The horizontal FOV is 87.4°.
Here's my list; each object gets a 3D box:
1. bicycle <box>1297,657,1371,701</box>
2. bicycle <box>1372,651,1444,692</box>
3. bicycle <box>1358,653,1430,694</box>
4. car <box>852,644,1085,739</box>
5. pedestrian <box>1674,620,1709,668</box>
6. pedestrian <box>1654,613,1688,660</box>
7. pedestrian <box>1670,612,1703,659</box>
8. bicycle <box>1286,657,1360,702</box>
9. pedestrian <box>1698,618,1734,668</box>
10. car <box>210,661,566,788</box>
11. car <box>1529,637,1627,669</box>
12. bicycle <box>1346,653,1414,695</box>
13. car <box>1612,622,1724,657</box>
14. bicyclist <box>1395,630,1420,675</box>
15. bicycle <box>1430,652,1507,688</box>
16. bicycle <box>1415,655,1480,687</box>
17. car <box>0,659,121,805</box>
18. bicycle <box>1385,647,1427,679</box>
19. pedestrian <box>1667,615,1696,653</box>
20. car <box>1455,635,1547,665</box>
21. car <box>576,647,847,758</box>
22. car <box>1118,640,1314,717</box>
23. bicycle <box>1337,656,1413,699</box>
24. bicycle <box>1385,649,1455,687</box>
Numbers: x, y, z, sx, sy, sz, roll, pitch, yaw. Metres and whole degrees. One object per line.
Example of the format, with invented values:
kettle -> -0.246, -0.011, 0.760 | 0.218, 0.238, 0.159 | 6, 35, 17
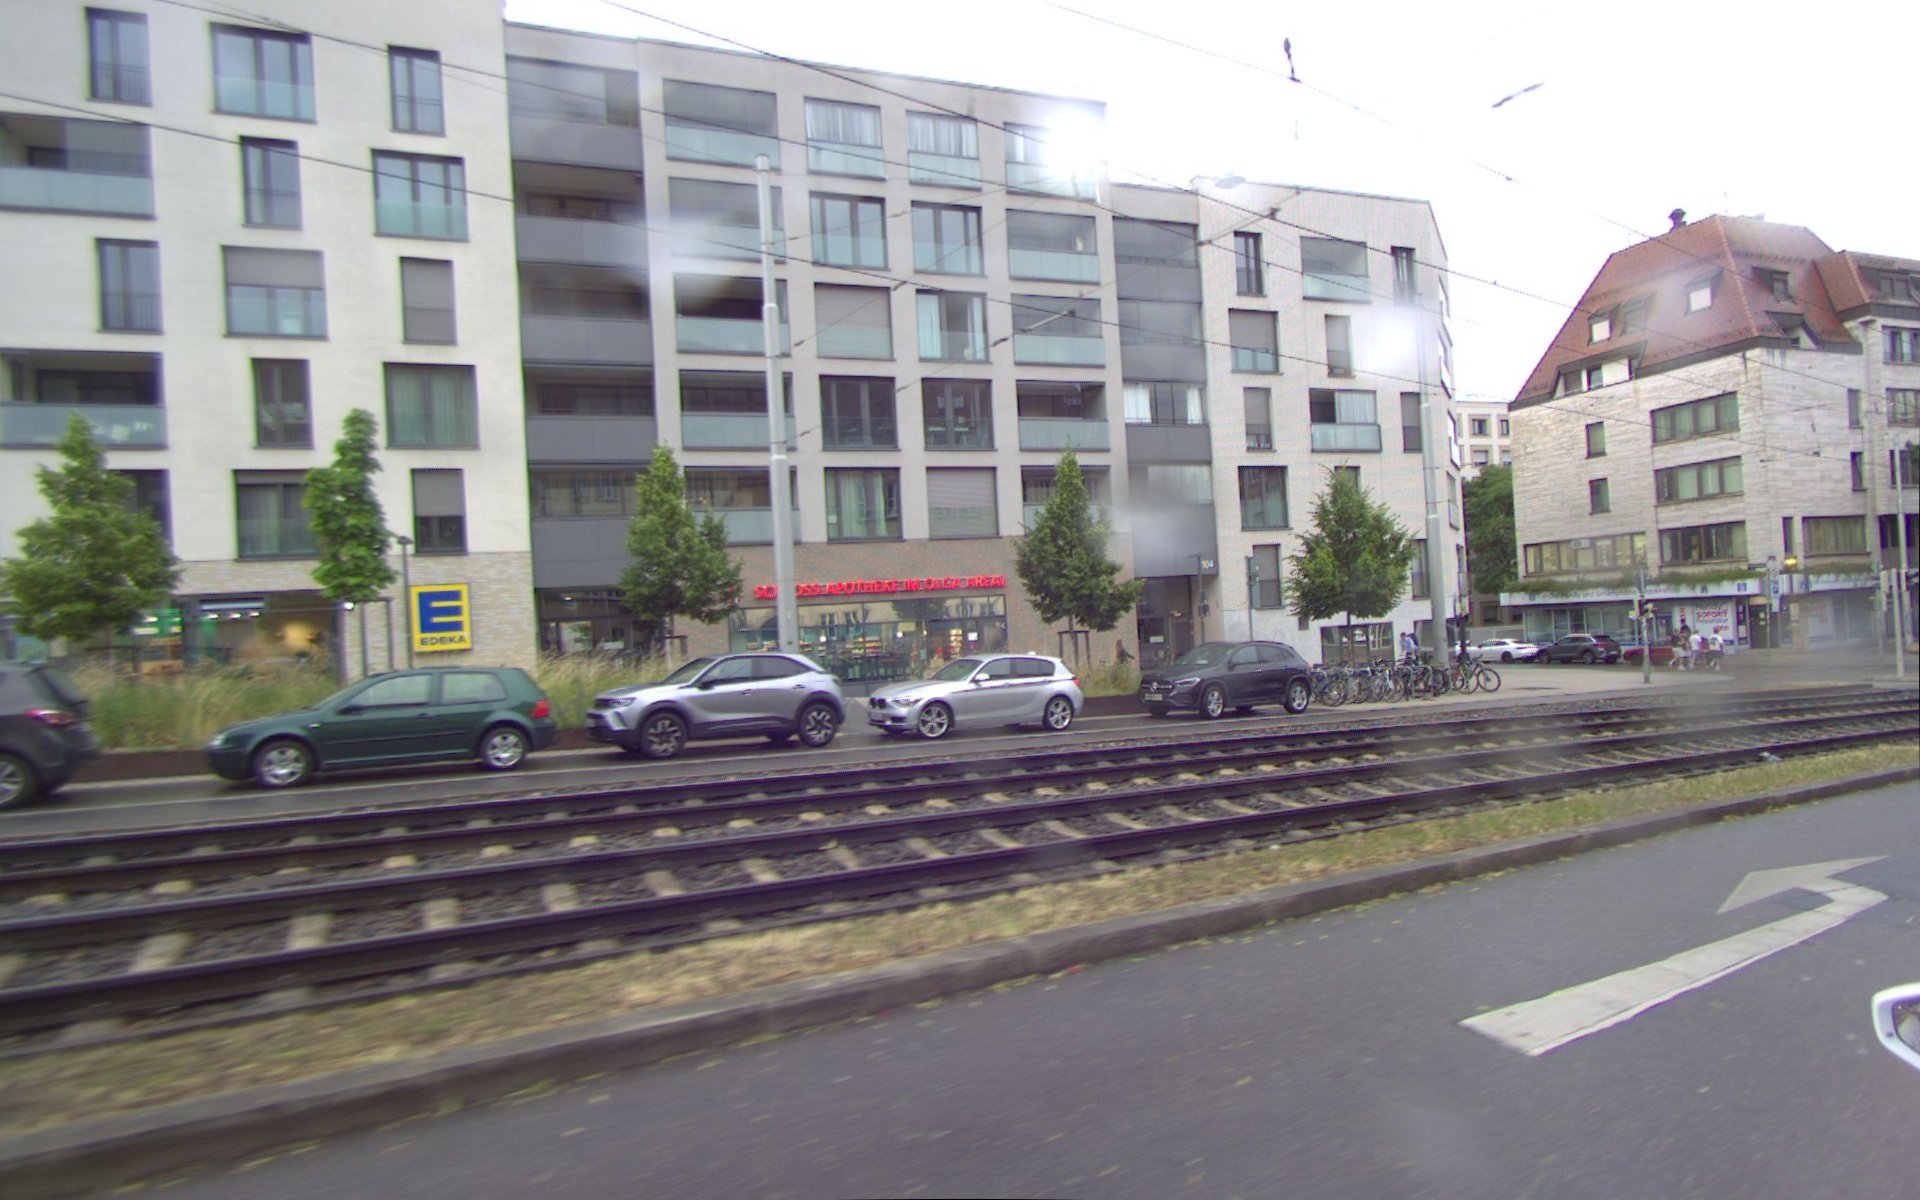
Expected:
bicycle -> 9.656, 2.018, 25.967 | 0.454, 1.078, 1.781 | 0, -2, -41
bicycle -> 12.679, 2.021, 28.473 | 1.776, 1.123, 0.453 | -3, -2, 41
bicycle -> 12.008, 2.021, 27.836 | 0.454, 1.078, 1.779 | 1, -3, -44
car -> 0.204, 1.614, 18.605 | 4.041, 1.523, 1.762 | 1, -3, -34
pedestrian -> 31.610, 1.886, 43.398 | 0.757, 2.040, 0.936 | 0, -3, -34
pedestrian -> 31.381, 1.600, 44.337 | 0.757, 2.040, 0.936 | 0, -3, -34
pedestrian -> 32.458, 1.599, 44.891 | 0.757, 2.040, 0.936 | 0, -3, -34
bicycle -> 9.088, 1.980, 25.214 | 0.453, 1.078, 1.784 | 0, -2, -37
pedestrian -> 31.961, 1.823, 42.480 | 0.756, 2.040, 0.937 | 0, -3, -30
car -> -7.533, 1.572, 13.567 | 3.962, 1.380, 1.542 | 1, -2, -30
car -> 32.759, 2.832, 53.378 | 1.796, 1.589, 4.128 | 0, -3, -21
bicycle -> 11.310, 1.976, 27.110 | 0.479, 1.085, 1.762 | 0, -2, -27
car -> 34.278, 1.949, 48.759 | 1.796, 1.589, 4.128 | 0, -3, -21
bicyclist -> 15.941, 1.865, 35.801 | 0.694, 1.594, 0.458 | 0, -2, -33
bicycle -> 15.254, 2.088, 30.152 | 0.715, 1.041, 1.934 | 0, -2, -38
bicycle -> 14.346, 2.075, 29.579 | 0.564, 0.877, 1.636 | 0, -2, -40
car -> -11.951, 1.448, 10.755 | 4.267, 1.533, 1.712 | 0, -3, -30
bicycle -> 15.865, 2.242, 35.749 | 1.783, 1.078, 0.453 | 0, -2, -33
pedestrian -> 37.870, 1.802, 52.719 | 0.816, 1.956, 0.900 | 0, -3, -33
car -> 31.036, 2.901, 57.752 | 1.880, 1.589, 4.454 | 0, -3, -21
car -> -3.951, 1.560, 16.126 | 3.881, 1.523, 1.762 | 1, -3, -34
car -> 5.735, 1.686, 22.354 | 4.193, 1.523, 1.901 | 1, -3, -34
bicycle -> 10.791, 2.004, 26.162 | 0.454, 1.078, 1.779 | 1, -3, -44
bicycle -> 13.470, 1.981, 29.464 | 0.565, 1.078, 1.781 | 0, -2, -42
